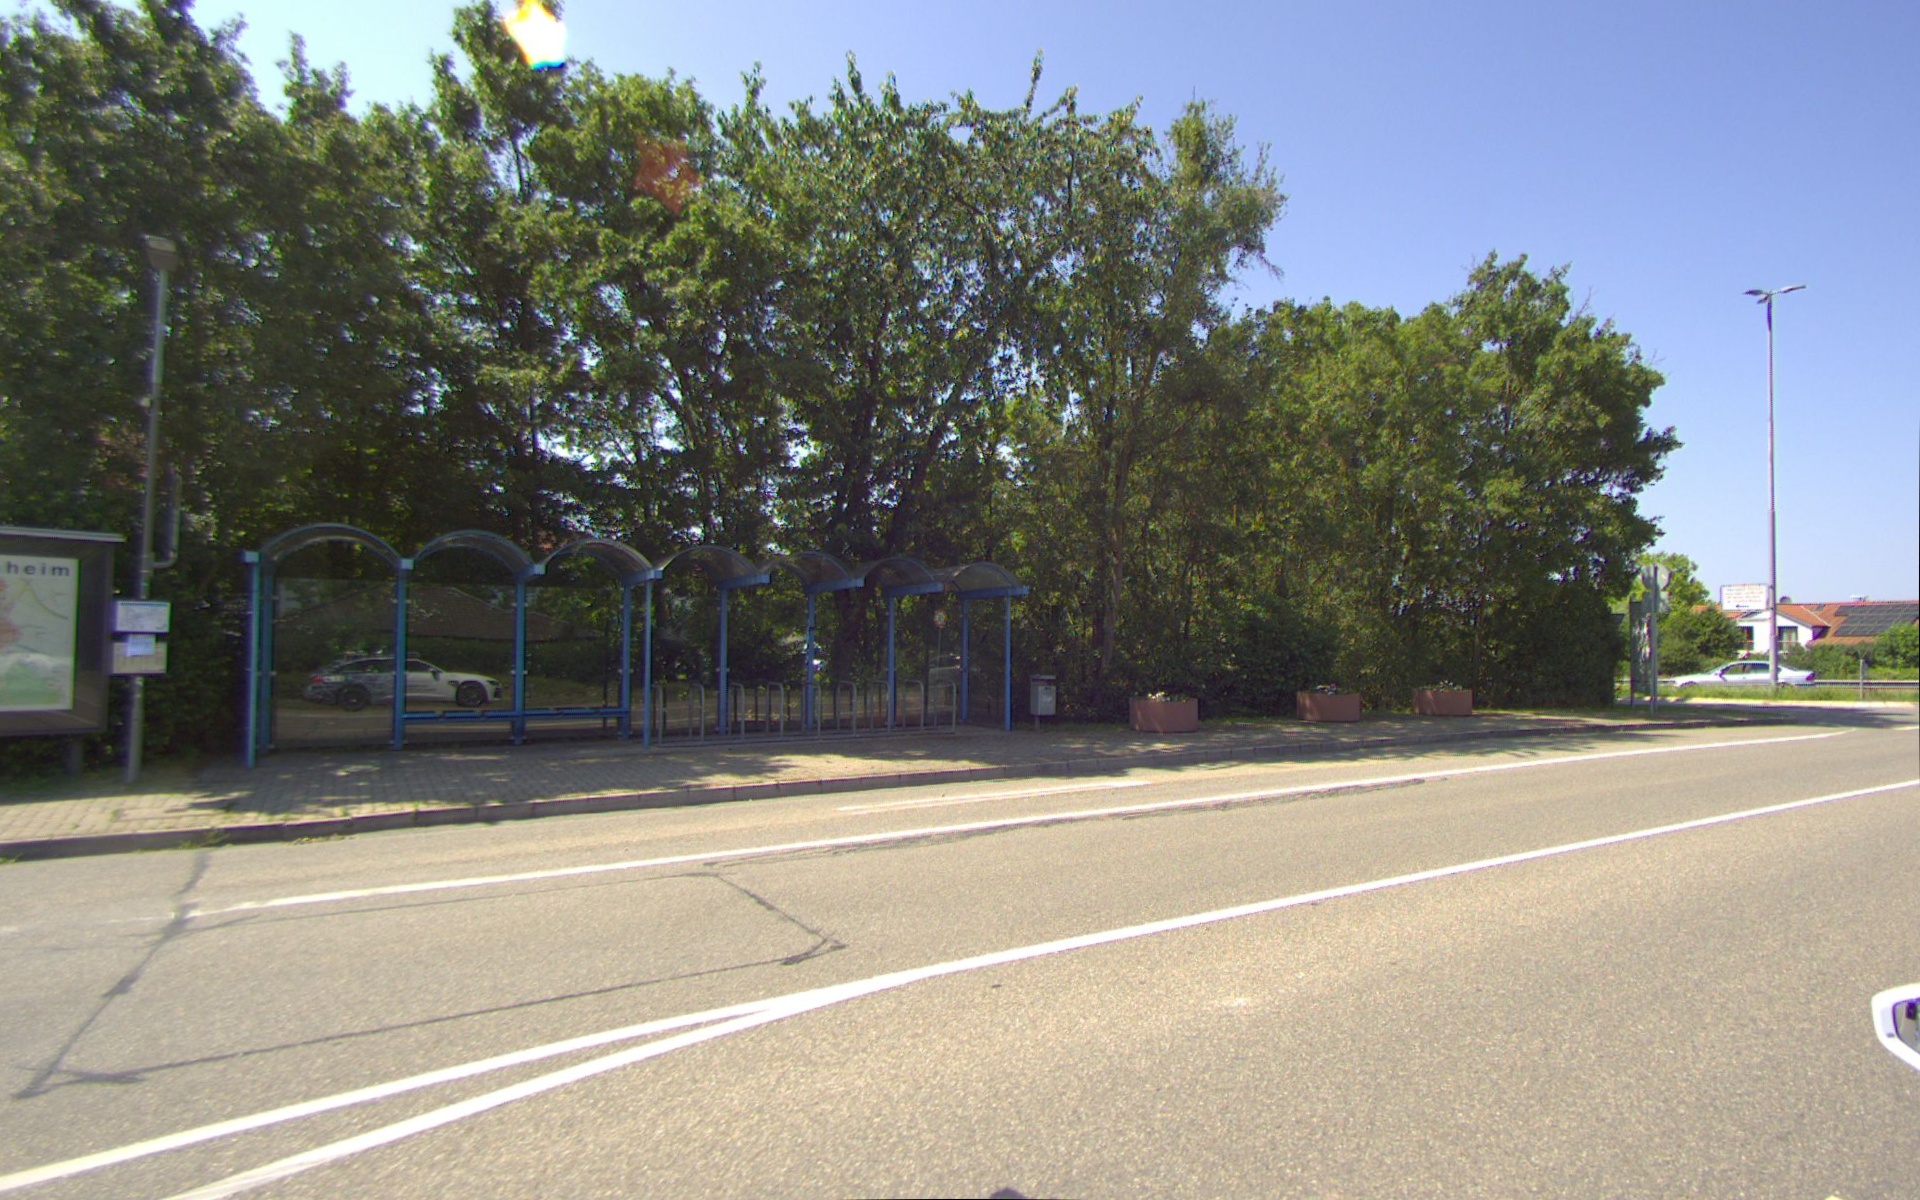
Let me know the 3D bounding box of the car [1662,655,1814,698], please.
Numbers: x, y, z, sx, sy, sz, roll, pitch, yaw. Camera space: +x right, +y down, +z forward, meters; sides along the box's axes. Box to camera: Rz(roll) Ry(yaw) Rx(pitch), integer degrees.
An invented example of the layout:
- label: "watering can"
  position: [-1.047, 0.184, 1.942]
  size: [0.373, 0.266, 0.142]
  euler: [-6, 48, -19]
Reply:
- label: "car"
  position: [28.886, 2.812, 37.478]
  size: [4.341, 1.490, 1.637]
  euler: [-2, -3, 34]
